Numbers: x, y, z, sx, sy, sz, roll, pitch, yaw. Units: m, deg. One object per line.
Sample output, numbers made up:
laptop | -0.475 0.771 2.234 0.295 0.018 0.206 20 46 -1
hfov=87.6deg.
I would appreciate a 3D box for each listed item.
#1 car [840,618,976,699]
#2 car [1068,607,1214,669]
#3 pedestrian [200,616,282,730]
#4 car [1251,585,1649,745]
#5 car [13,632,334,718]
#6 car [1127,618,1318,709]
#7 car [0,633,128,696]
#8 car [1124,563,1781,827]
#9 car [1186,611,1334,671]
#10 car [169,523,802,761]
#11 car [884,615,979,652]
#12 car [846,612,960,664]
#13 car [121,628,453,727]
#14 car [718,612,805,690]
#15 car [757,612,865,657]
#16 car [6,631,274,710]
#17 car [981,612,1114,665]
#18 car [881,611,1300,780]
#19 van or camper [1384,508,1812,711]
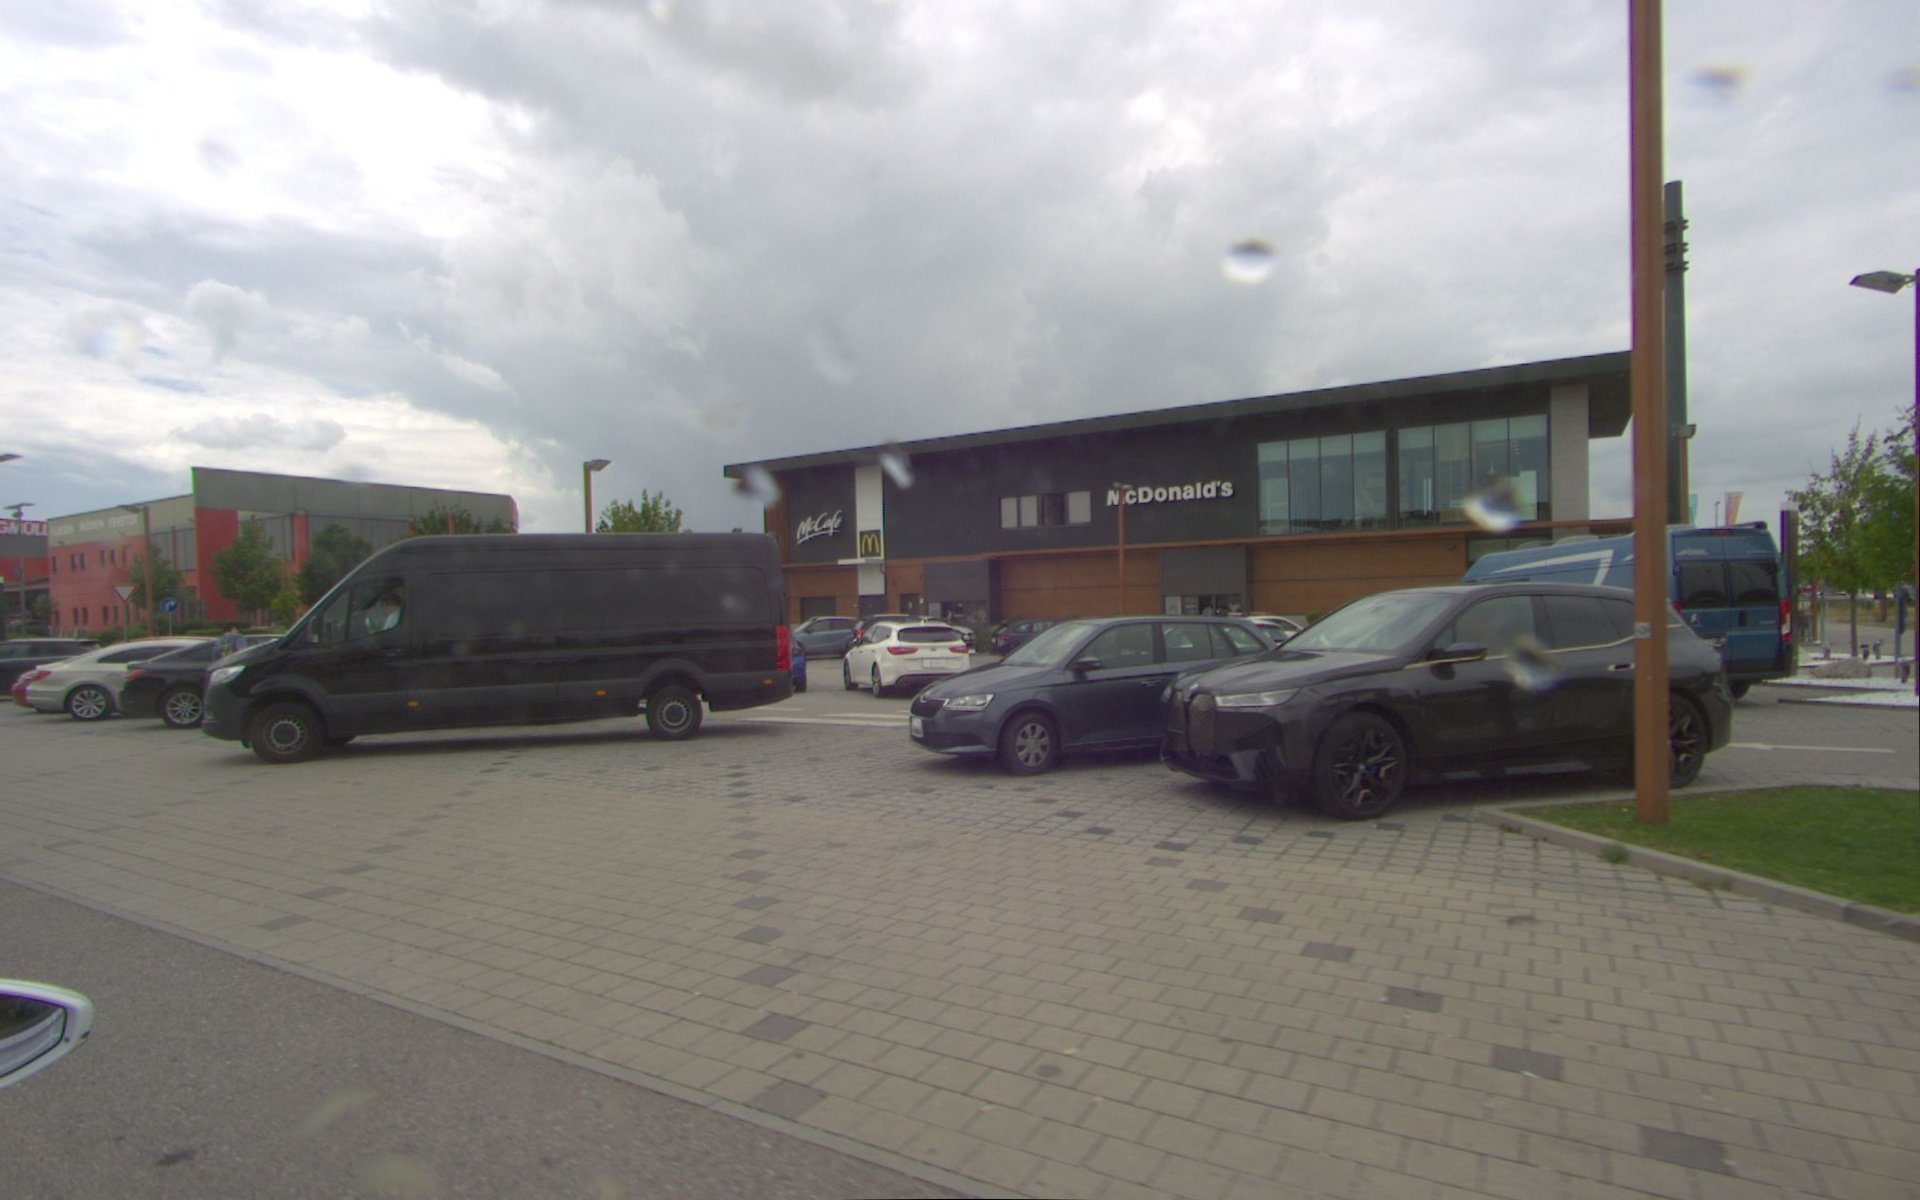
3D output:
car | -1.197 1.150 20.805 1.750 1.485 4.103 2 -2 -19
car | 5.770 1.171 31.964 4.185 1.684 1.893 -3 2 -19
pedestrian | -11.106 1.118 15.494 0.828 1.699 0.748 -1 -2 -17
car | 5.868 0.681 12.391 4.123 1.712 1.804 0 1 26
car | -14.506 1.349 18.790 4.382 1.430 1.750 0 -1 -19
car | 4.706 1.094 18.469 1.810 1.472 3.568 0 -1 -17
car | -22.761 1.538 24.094 3.864 1.430 1.683 0 -1 -21
car | 4.009 0.692 8.339 4.810 1.749 1.998 0 -4 -17
car | 9.078 1.212 30.364 3.927 1.507 1.787 -3 2 -15
car | -5.649 0.484 12.969 6.891 2.586 2.069 0 -1 -18
car | -1.307 1.466 44.966 3.939 1.526 1.780 0 1 30
car | -2.142 1.369 37.158 3.928 1.773 1.996 0 1 -16
car | -11.121 1.240 16.909 4.329 1.482 1.684 0 -1 -17
car | -4.613 1.082 22.912 1.737 1.530 3.993 0 1 -14
car | -5.765 1.311 38.779 3.840 1.606 1.745 0 1 -22
car | -16.833 1.398 20.789 3.931 1.483 1.684 0 -1 -19
car | 2.902 1.253 33.503 4.018 1.595 1.835 -1 0 -14
car | 1.339 0.879 10.421 3.934 1.430 1.828 -1 -1 -23
van or camper | 10.148 0.240 16.936 2.132 2.735 6.571 0 -2 -11
